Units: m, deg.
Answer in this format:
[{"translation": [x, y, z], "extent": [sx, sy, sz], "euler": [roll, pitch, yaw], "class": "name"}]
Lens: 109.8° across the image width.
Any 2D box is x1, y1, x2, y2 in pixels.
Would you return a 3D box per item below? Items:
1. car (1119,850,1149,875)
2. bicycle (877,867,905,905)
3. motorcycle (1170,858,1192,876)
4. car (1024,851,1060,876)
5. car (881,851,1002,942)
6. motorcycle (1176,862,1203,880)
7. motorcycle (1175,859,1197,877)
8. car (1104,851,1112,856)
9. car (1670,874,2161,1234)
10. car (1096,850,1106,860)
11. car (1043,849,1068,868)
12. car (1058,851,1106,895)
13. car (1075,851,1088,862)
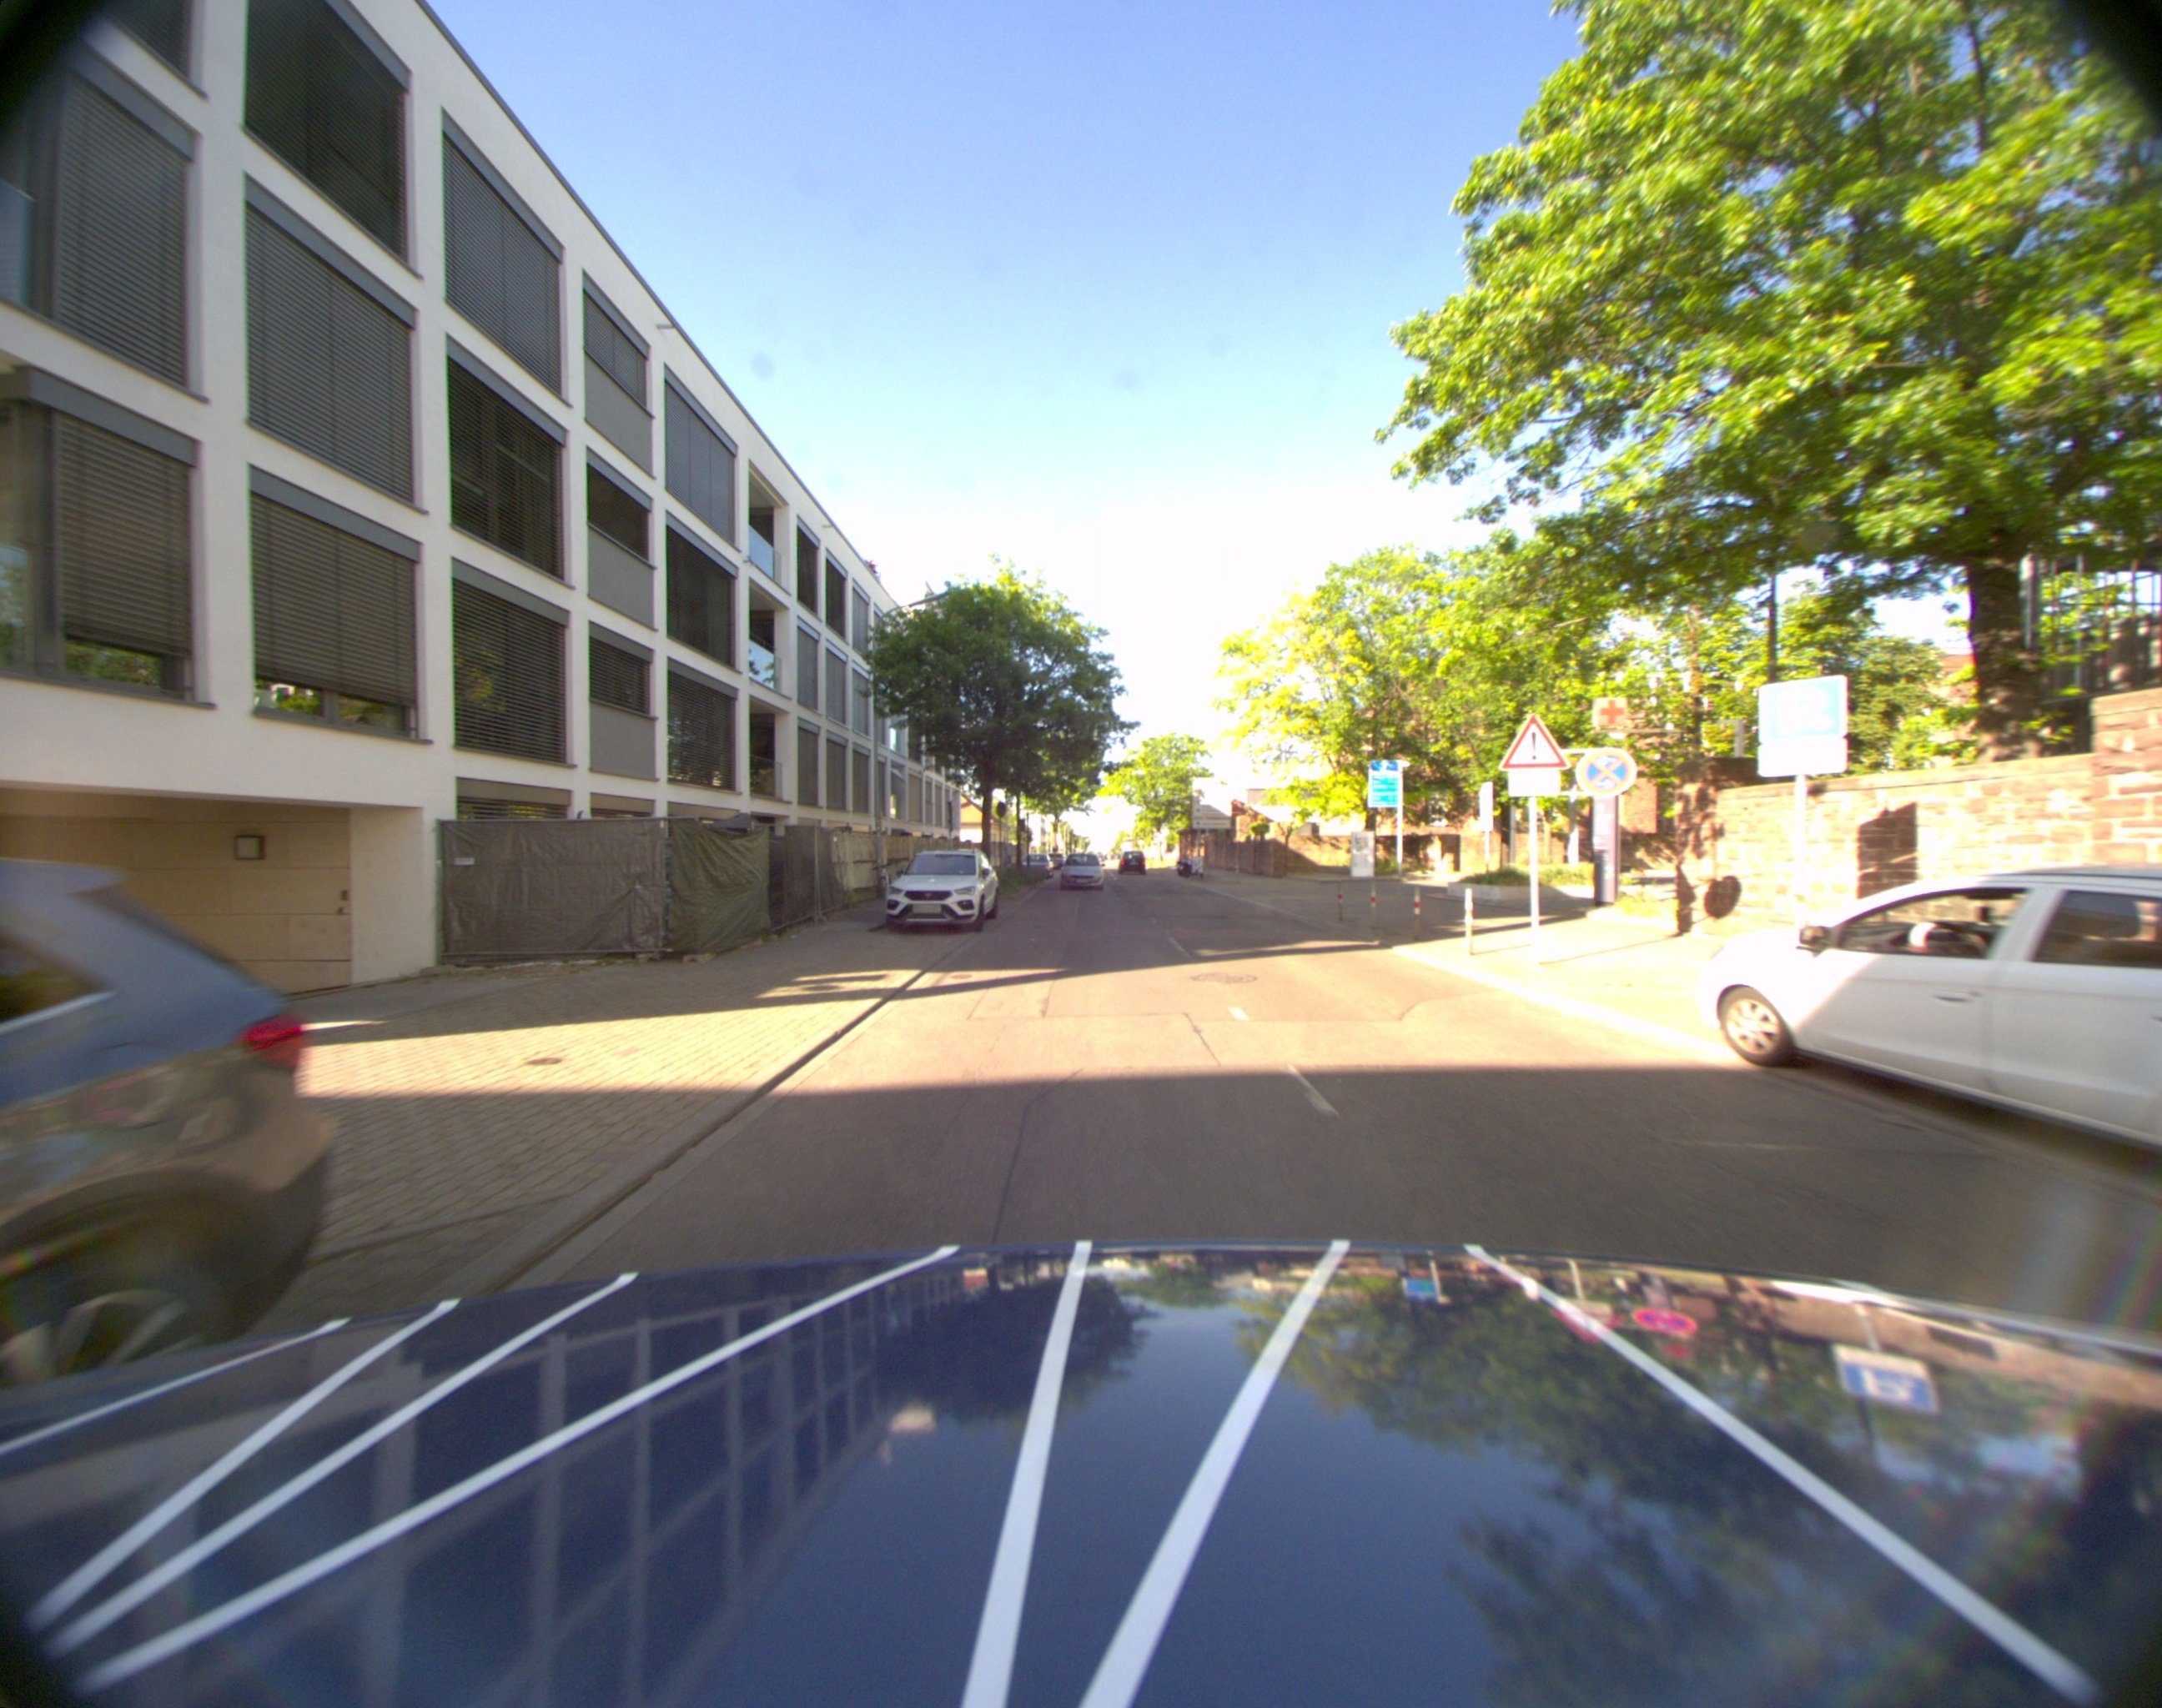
[{"translation": [3.588, 0.563, 52.140], "extent": [1.648, 1.602, 4.020], "euler": [1, 0, -1], "class": "car"}, {"translation": [-5.583, 0.915, 22.378], "extent": [0.337, 1.035, 1.831], "euler": [-1, 1, 1], "class": "bicycle"}, {"translation": [6.416, 0.820, 48.516], "extent": [0.530, 1.033, 2.095], "euler": [-1, 0, 32], "class": "motorcycle"}, {"translation": [-2.241, 0.537, 45.003], "extent": [1.724, 1.402, 4.763], "euler": [0, 0, 1], "class": "car"}, {"translation": [-2.771, 0.771, 16.013], "extent": [1.797, 1.606, 4.126], "euler": [-1, 0, -1], "class": "car"}, {"translation": [6.333, 0.988, 44.261], "extent": [0.599, 1.026, 2.132], "euler": [0, 0, 35], "class": "motorcycle"}, {"translation": [6.534, 0.869, 47.201], "extent": [0.530, 1.033, 2.095], "euler": [-1, 0, 32], "class": "motorcycle"}, {"translation": [7.667, -0.172, 216.484], "extent": [1.998, 1.406, 4.000], "euler": [-2, 0, 1], "class": "car"}, {"translation": [5.503, 0.920, 4.166], "extent": [1.578, 1.394, 3.750], "euler": [-4, 0, 0], "class": "car"}, {"translation": [3.743, 0.207, 141.828], "extent": [1.834, 1.732, 4.000], "euler": [-2, 1, 1], "class": "car"}, {"translation": [-2.219, 0.347, 66.152], "extent": [1.887, 1.592, 4.298], "euler": [-1, 1, 1], "class": "car"}, {"translation": [0.095, 0.717, 31.001], "extent": [1.747, 1.613, 4.106], "euler": [-2, 1, 2], "class": "car"}, {"translation": [0.038, 0.301, 104.959], "extent": [1.757, 1.459, 3.485], "euler": [-2, 1, 0], "class": "car"}]
